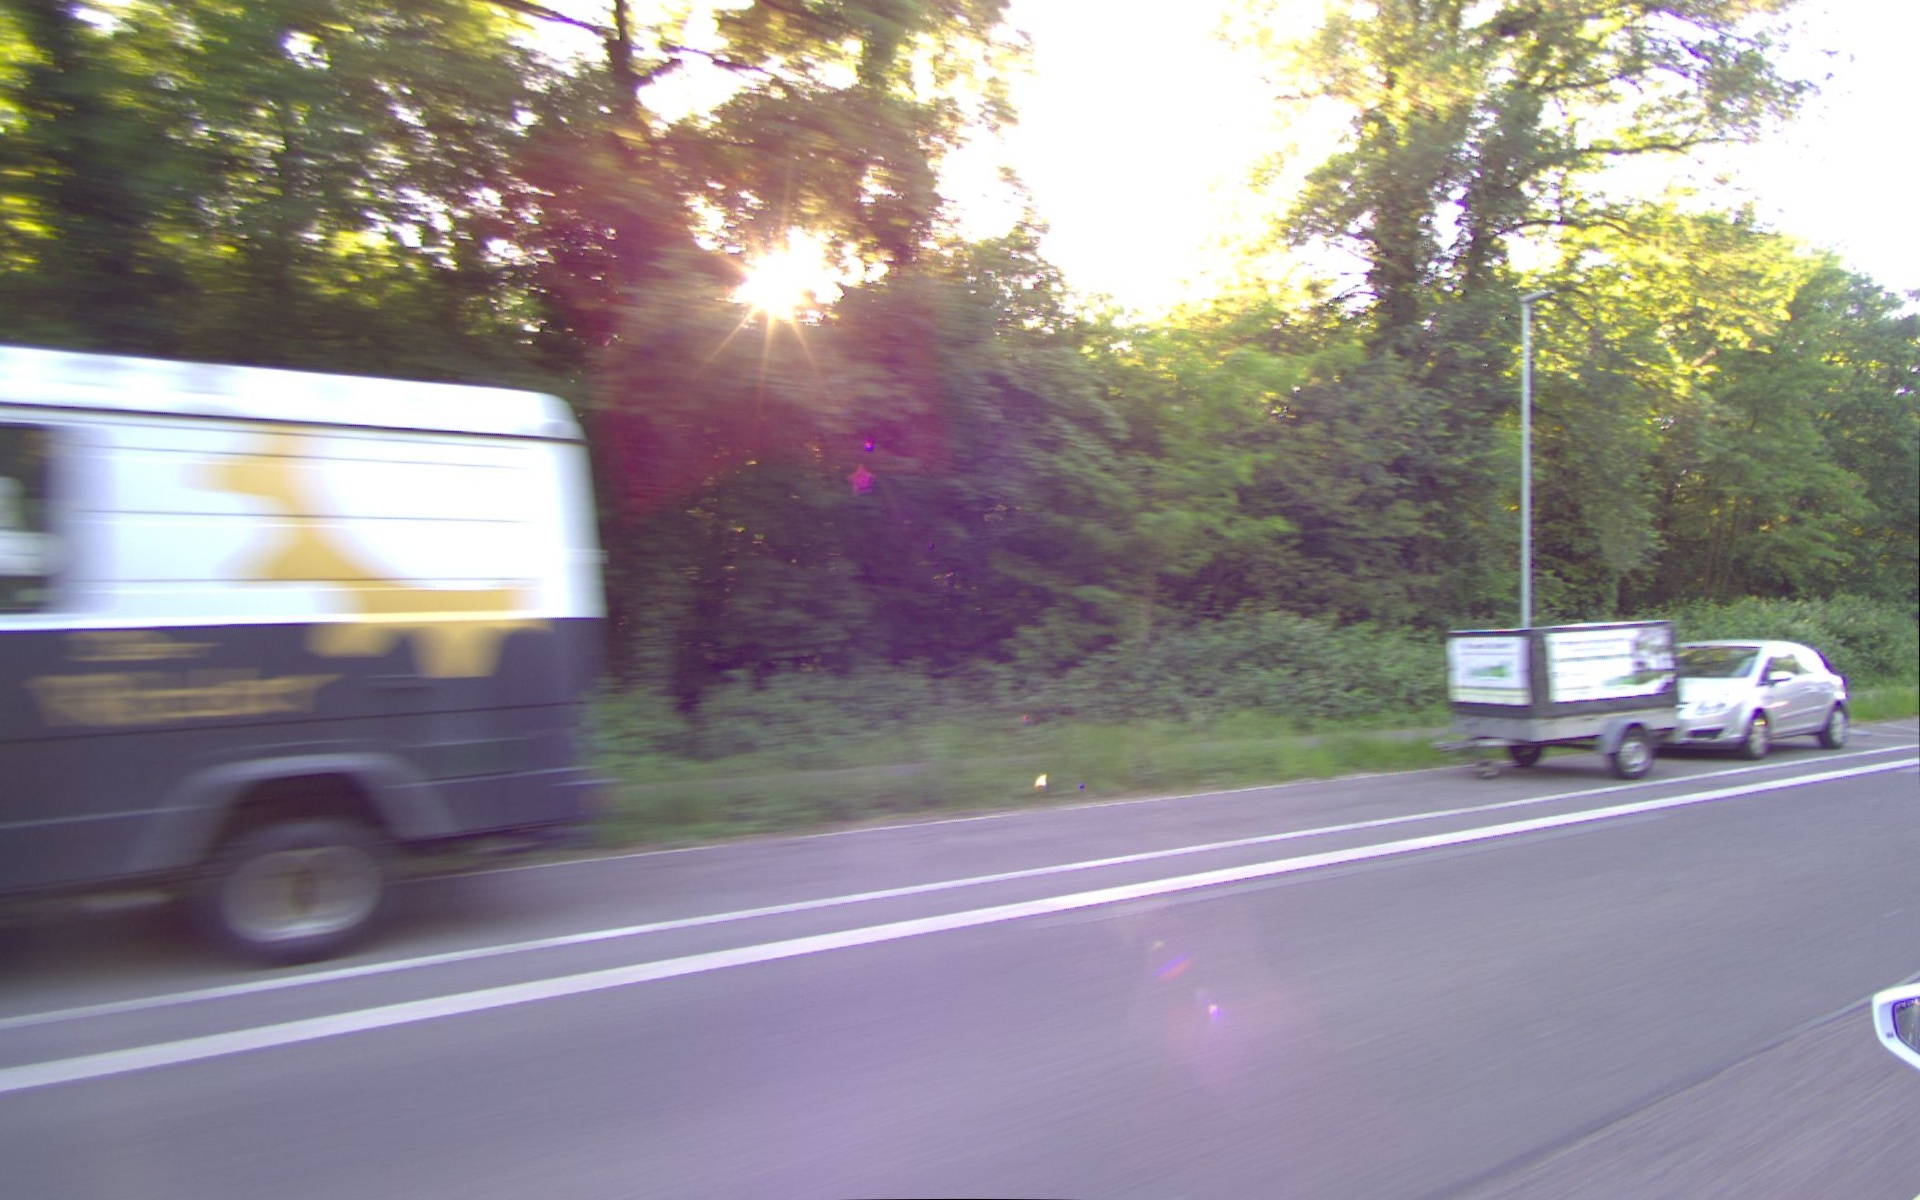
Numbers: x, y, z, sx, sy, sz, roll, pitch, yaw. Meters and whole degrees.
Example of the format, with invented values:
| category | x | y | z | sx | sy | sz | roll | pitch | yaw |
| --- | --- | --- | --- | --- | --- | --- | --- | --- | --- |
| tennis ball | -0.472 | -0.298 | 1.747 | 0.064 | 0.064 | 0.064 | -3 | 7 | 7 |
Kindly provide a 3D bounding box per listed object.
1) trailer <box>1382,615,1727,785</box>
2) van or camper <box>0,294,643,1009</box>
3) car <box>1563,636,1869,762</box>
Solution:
| category | x | y | z | sx | sy | sz | roll | pitch | yaw |
| --- | --- | --- | --- | --- | --- | --- | --- | --- | --- |
| trailer | 6.564 | 1.056 | 11.153 | 3.312 | 1.681 | 1.470 | 1 | -3 | -18 |
| van or camper | -4.576 | 0.241 | 4.791 | 5.493 | 2.804 | 2.291 | 1 | -3 | -31 |
| car | 10.348 | 1.270 | 13.708 | 4.084 | 1.482 | 1.859 | 1 | -4 | -30 |
